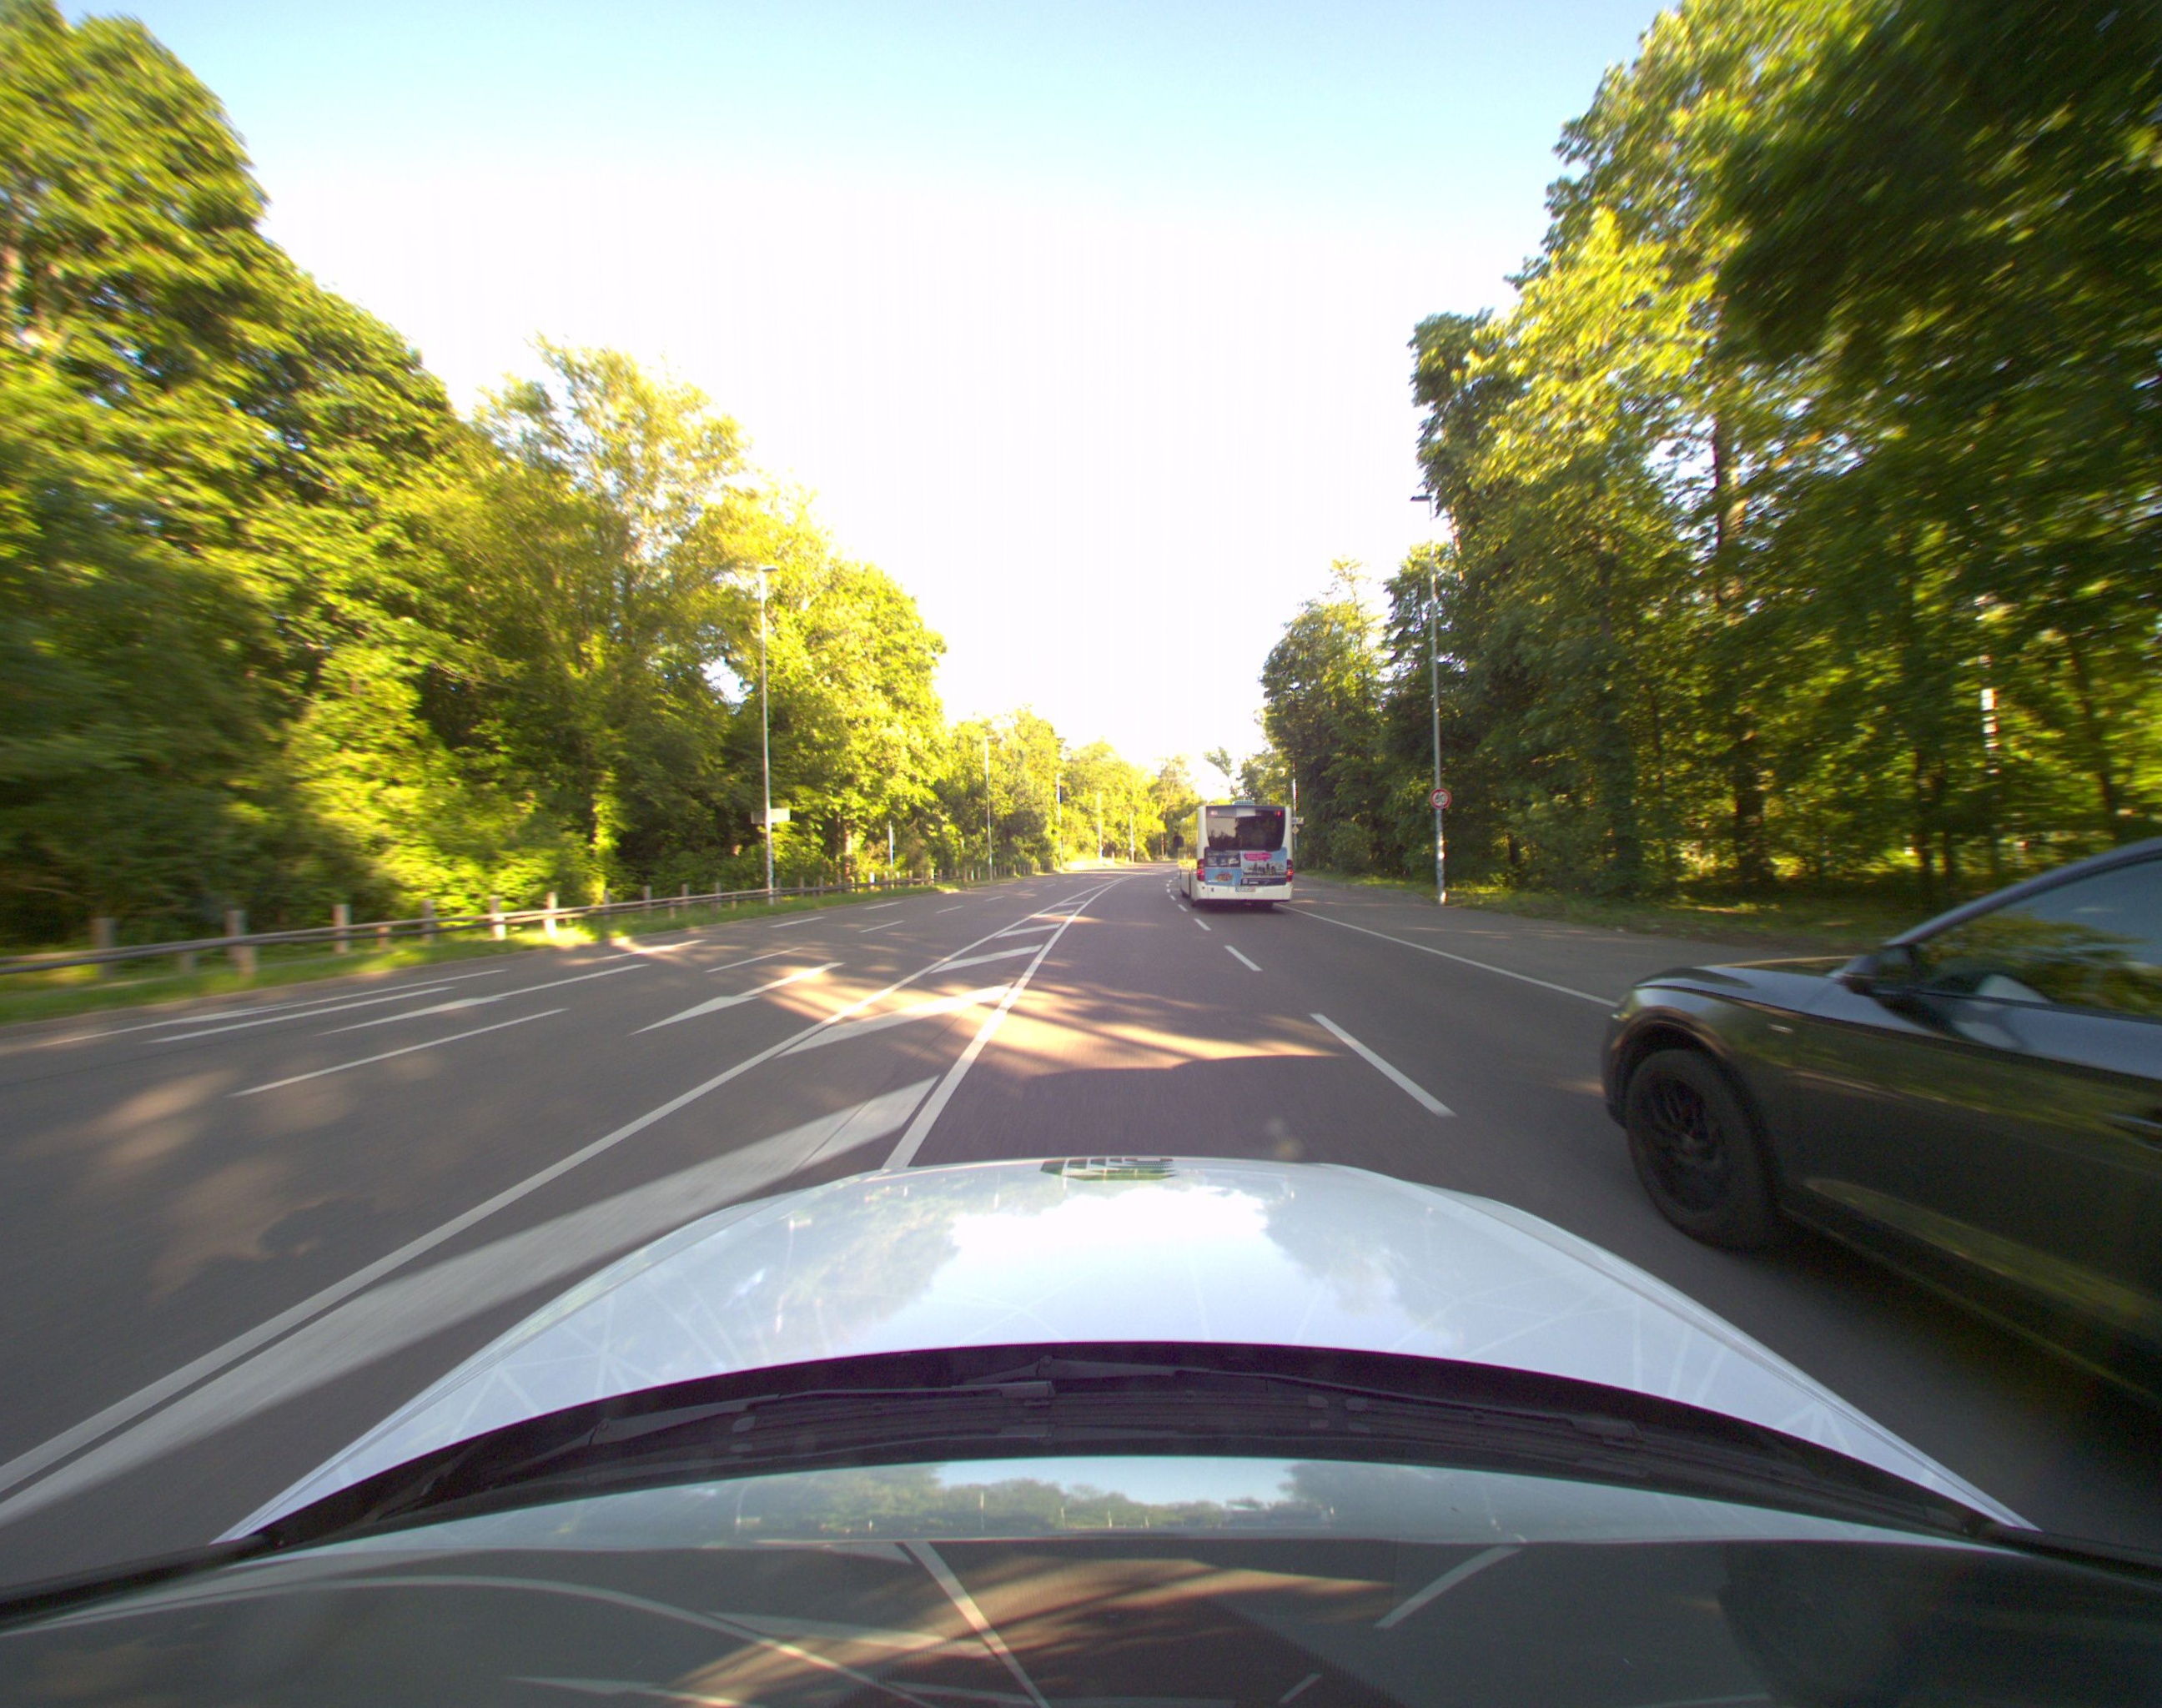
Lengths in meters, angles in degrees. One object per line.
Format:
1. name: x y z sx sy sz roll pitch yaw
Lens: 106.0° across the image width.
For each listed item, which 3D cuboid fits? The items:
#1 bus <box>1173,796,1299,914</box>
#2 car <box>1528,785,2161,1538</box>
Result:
1. bus: 4.680 0.048 27.127 2.678 3.042 12.053 -1 0 4
2. car: 3.251 0.648 2.043 1.886 1.605 4.546 0 0 2
